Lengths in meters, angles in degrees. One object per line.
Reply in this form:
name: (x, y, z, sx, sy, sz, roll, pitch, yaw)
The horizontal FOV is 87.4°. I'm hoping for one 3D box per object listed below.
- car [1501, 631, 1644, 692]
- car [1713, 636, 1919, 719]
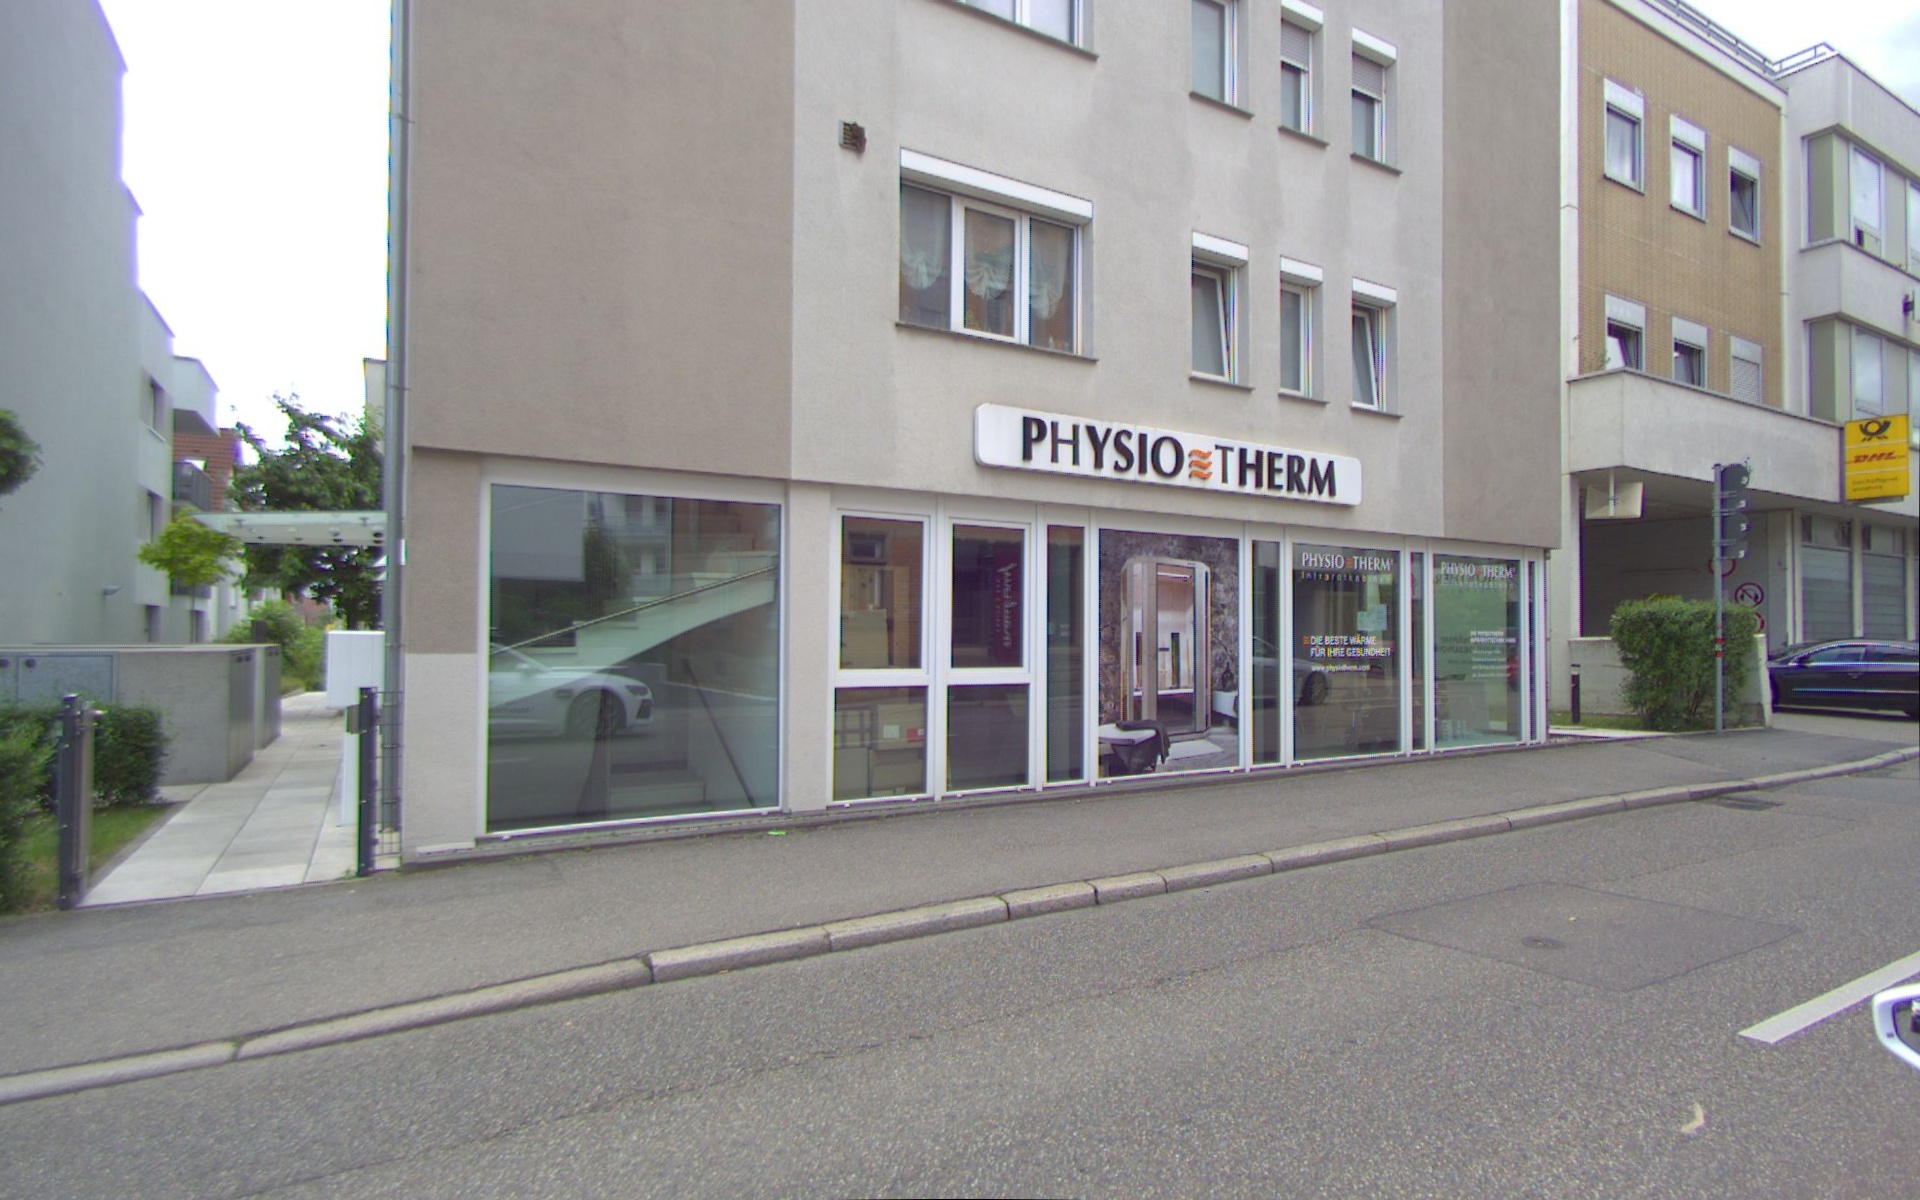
car: (16.471, 1.611, 26.982, 3.647, 1.476, 1.745, 1, 0, -30)
car: (16.443, 1.361, 18.164, 4.335, 1.384, 1.782, -1, -2, 31)
